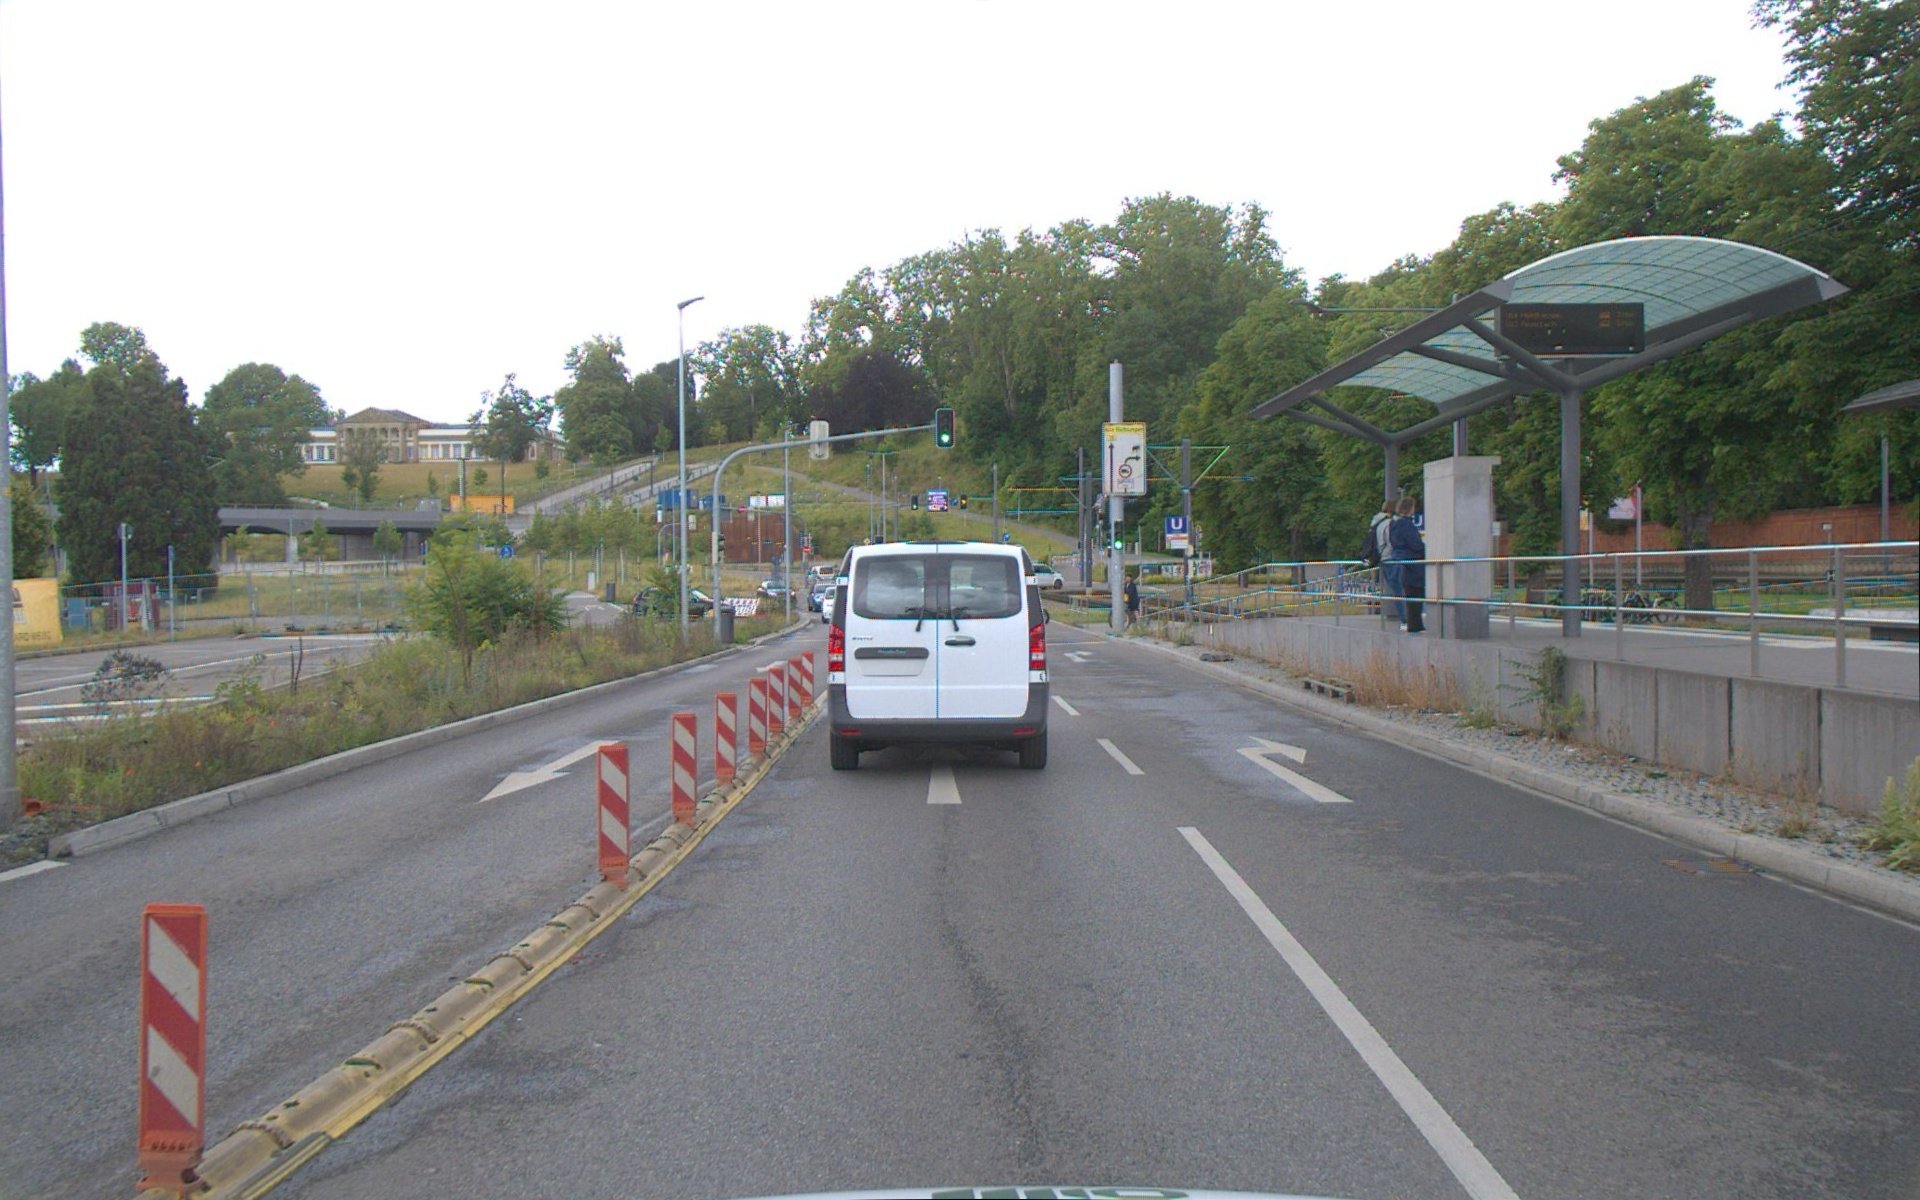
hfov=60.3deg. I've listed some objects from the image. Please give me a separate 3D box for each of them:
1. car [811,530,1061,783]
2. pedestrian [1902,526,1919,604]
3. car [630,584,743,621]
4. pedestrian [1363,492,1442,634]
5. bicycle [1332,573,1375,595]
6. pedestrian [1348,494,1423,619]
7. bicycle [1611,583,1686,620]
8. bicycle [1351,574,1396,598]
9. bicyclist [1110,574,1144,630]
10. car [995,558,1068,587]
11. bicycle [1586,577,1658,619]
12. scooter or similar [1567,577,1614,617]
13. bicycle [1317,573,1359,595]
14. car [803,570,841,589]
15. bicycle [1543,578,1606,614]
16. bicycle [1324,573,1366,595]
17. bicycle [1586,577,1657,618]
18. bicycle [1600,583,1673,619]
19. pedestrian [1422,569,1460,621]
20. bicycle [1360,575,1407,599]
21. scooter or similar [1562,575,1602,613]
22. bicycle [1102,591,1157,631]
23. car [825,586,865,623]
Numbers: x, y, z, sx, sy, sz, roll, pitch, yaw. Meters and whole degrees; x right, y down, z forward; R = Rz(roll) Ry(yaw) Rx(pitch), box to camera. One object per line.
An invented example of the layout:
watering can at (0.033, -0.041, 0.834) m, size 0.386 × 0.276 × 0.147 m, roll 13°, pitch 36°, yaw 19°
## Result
car at (-0.073, 0.412, 15.060) m, size 1.918 × 1.937 × 4.463 m, roll 1°, pitch 1°, yaw 3°
pedestrian at (16.850, -0.590, 28.467) m, size 0.660 × 1.346 × 0.967 m, roll 1°, pitch 0°, yaw -2°
car at (-12.351, 0.111, 74.925) m, size 4.608 × 1.503 × 2.002 m, roll -2°, pitch 2°, yaw 9°
pedestrian at (5.525, -0.468, 20.691) m, size 0.754 × 1.729 × 0.731 m, roll 1°, pitch 2°, yaw 0°
bicycle at (18.443, -0.746, 77.618) m, size 1.873 × 0.992 × 0.531 m, roll -2°, pitch 1°, yaw -1°
pedestrian at (5.517, -0.571, 21.462) m, size 0.735 × 1.580 × 0.775 m, roll 1°, pitch 2°, yaw 0°
bicycle at (19.060, 0.038, 45.794) m, size 1.835 × 0.980 × 0.532 m, roll 1°, pitch 0°, yaw -1°
bicycle at (18.461, -0.638, 73.860) m, size 1.873 × 0.992 × 0.531 m, roll -2°, pitch 1°, yaw -1°
bicyclist at (4.873, 0.044, 48.264) m, size 0.799 × 1.599 × 0.609 m, roll -2°, pitch 2°, yaw -41°
car at (5.139, -1.941, 119.129) m, size 5.098 × 2.049 × 2.178 m, roll 0°, pitch 1°, yaw -38°
bicycle at (18.948, -0.067, 47.354) m, size 1.835 × 1.159 × 0.532 m, roll 1°, pitch 0°, yaw -1°
scooter or similar at (18.923, -0.086, 49.658) m, size 1.247 × 1.159 × 0.333 m, roll 1°, pitch 0°, yaw 6°
bicycle at (18.065, -0.744, 79.153) m, size 1.873 × 0.992 × 0.531 m, roll -2°, pitch 1°, yaw -1°
car at (-12.148, -1.820, 145.734) m, size 1.915 × 1.655 × 3.963 m, roll 0°, pitch 1°, yaw -28°
bicycle at (18.814, -0.120, 50.657) m, size 1.727 × 1.052 × 0.483 m, roll 1°, pitch 0°, yaw -1°
bicycle at (18.243, -0.747, 78.429) m, size 1.873 × 0.992 × 0.531 m, roll -2°, pitch 1°, yaw -1°
bicycle at (19.320, -0.074, 48.309) m, size 1.835 × 1.159 × 0.532 m, roll 1°, pitch 0°, yaw -1°
bicycle at (19.028, 0.021, 46.520) m, size 1.835 × 0.980 × 0.532 m, roll 1°, pitch 0°, yaw -1°
pedestrian at (15.385, -0.161, 52.931) m, size 0.821 × 1.637 × 0.773 m, roll -2°, pitch 1°, yaw -23°
bicycle at (18.503, -0.572, 72.274) m, size 1.873 × 0.992 × 0.531 m, roll -2°, pitch 1°, yaw -1°
scooter or similar at (19.481, -0.187, 51.830) m, size 1.139 × 1.159 × 0.333 m, roll 1°, pitch 0°, yaw 23°
bicycle at (4.955, 0.315, 48.344) m, size 1.669 × 1.092 × 0.611 m, roll -2°, pitch 3°, yaw -41°
car at (-5.117, 0.185, 73.997) m, size 1.559 × 1.544 × 4.083 m, roll -1°, pitch 0°, yaw -2°
